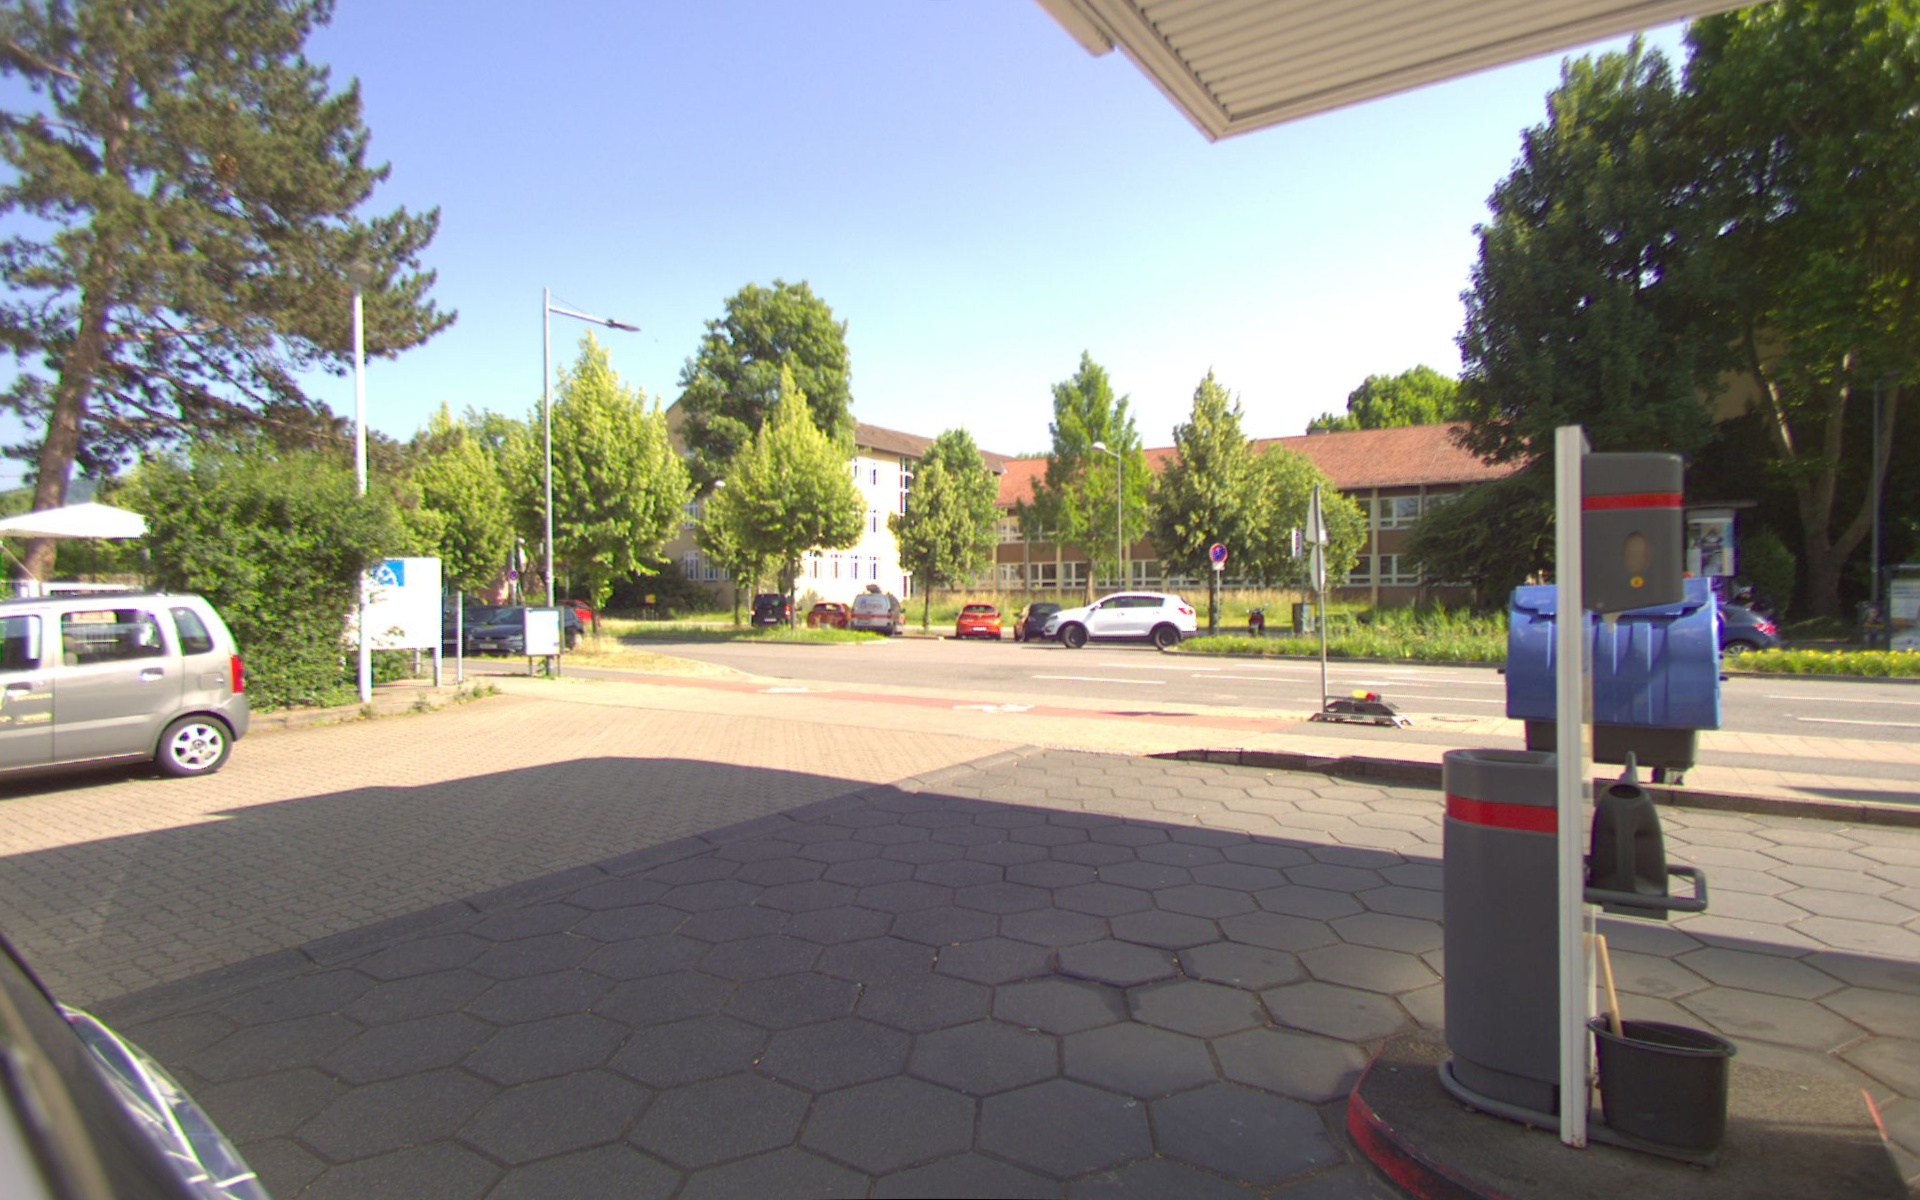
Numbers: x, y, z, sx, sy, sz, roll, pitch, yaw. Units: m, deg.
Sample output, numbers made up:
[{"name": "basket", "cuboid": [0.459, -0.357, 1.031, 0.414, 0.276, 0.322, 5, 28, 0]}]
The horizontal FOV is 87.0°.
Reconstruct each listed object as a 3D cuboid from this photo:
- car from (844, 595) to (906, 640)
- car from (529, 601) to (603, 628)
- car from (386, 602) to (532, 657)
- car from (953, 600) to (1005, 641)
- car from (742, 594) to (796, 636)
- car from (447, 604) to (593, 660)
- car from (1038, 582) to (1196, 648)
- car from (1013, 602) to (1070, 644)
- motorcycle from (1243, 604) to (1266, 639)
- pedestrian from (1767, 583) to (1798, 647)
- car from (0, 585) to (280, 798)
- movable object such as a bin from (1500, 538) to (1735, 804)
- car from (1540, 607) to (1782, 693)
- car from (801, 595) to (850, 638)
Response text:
[{"name": "car", "cuboid": [-3.494, 0.750, 42.430, 1.858, 1.735, 4.218, 1, -1, 6]}, {"name": "car", "cuboid": [-21.340, 0.818, 54.899, 1.865, 1.401, 3.706, 1, -1, 16]}, {"name": "car", "cuboid": [-14.827, 0.858, 30.212, 1.859, 1.493, 4.215, 0, -1, 8]}, {"name": "car", "cuboid": [0.689, 0.786, 39.574, 1.854, 1.471, 4.227, 1, -1, -1]}, {"name": "car", "cuboid": [-8.383, 0.699, 44.814, 1.853, 1.735, 4.230, 1, -1, -4]}, {"name": "car", "cuboid": [-12.352, 0.894, 28.714, 1.859, 1.428, 4.215, 1, -1, 8]}, {"name": "car", "cuboid": [4.570, 0.420, 29.405, 4.345, 1.782, 1.992, -1, 0, 12]}, {"name": "car", "cuboid": [2.998, 0.860, 37.989, 1.717, 1.471, 4.226, 0, -1, -1]}, {"name": "motorcycle", "cuboid": [9.594, 0.687, 33.002, 0.551, 1.122, 1.753, 0, 0, 11]}, {"name": "pedestrian", "cuboid": [23.038, 0.416, 28.342, 0.656, 1.767, 0.577, 0, -2, 41]}, {"name": "car", "cuboid": [-8.103, 0.727, 8.494, 1.689, 1.629, 3.617, 0, 1, 37]}, {"name": "movable object such as a bin", "cuboid": [4.809, 0.478, 7.416, 1.335, 1.701, 1.326, 0, -2, 36]}, {"name": "car", "cuboid": [15.910, 1.061, 23.229, 4.379, 1.782, 1.977, 0, 0, 34]}, {"name": "car", "cuboid": [-5.787, 0.734, 43.891, 1.853, 1.735, 4.230, 1, -1, -4]}]
